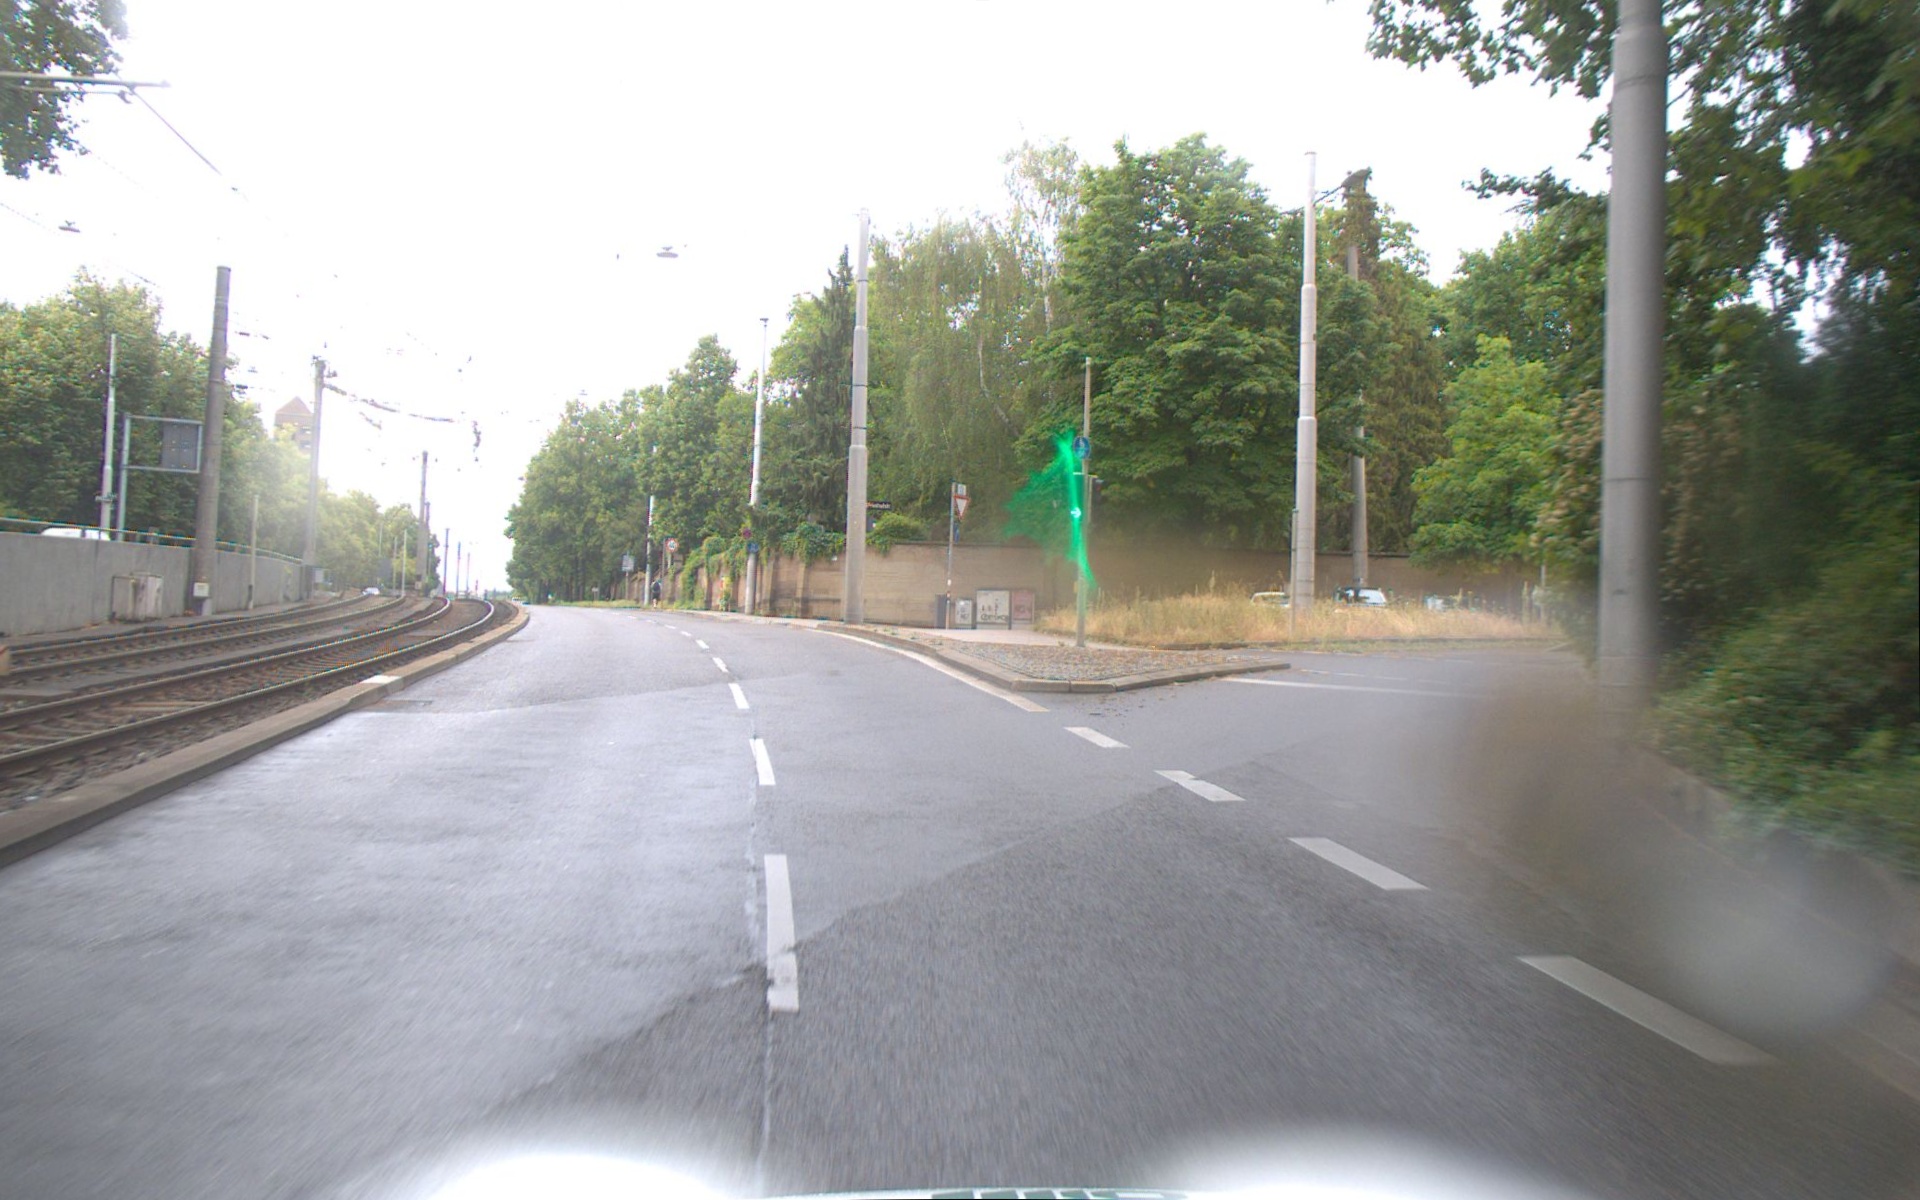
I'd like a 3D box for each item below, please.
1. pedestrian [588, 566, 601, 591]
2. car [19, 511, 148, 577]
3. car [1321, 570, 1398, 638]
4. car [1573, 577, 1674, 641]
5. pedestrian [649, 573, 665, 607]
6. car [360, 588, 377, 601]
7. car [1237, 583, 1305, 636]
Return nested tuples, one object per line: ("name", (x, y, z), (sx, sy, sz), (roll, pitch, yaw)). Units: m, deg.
("pedestrian", (-25.695, -1.514, 116.211), (0.708, 1.717, 0.726), (4, -1, -16))
("car", (-24.339, -1.514, 46.095), (1.761, 1.639, 4.349), (4, 0, -10))
("car", (11.469, 0.144, 47.696), (1.716, 1.835, 4.276), (1, -1, 8))
("car", (18.631, 0.291, 46.606), (1.745, 1.584, 4.221), (-1, -3, 9))
("pedestrian", (-17.087, -0.547, 93.264), (0.708, 1.882, 0.779), (4, -1, -16))
("car", (-78.343, -0.754, 219.105), (1.765, 1.536, 3.832), (2, 0, -16))
("car", (8.986, 0.300, 47.999), (1.716, 1.431, 4.003), (1, -1, 8))
